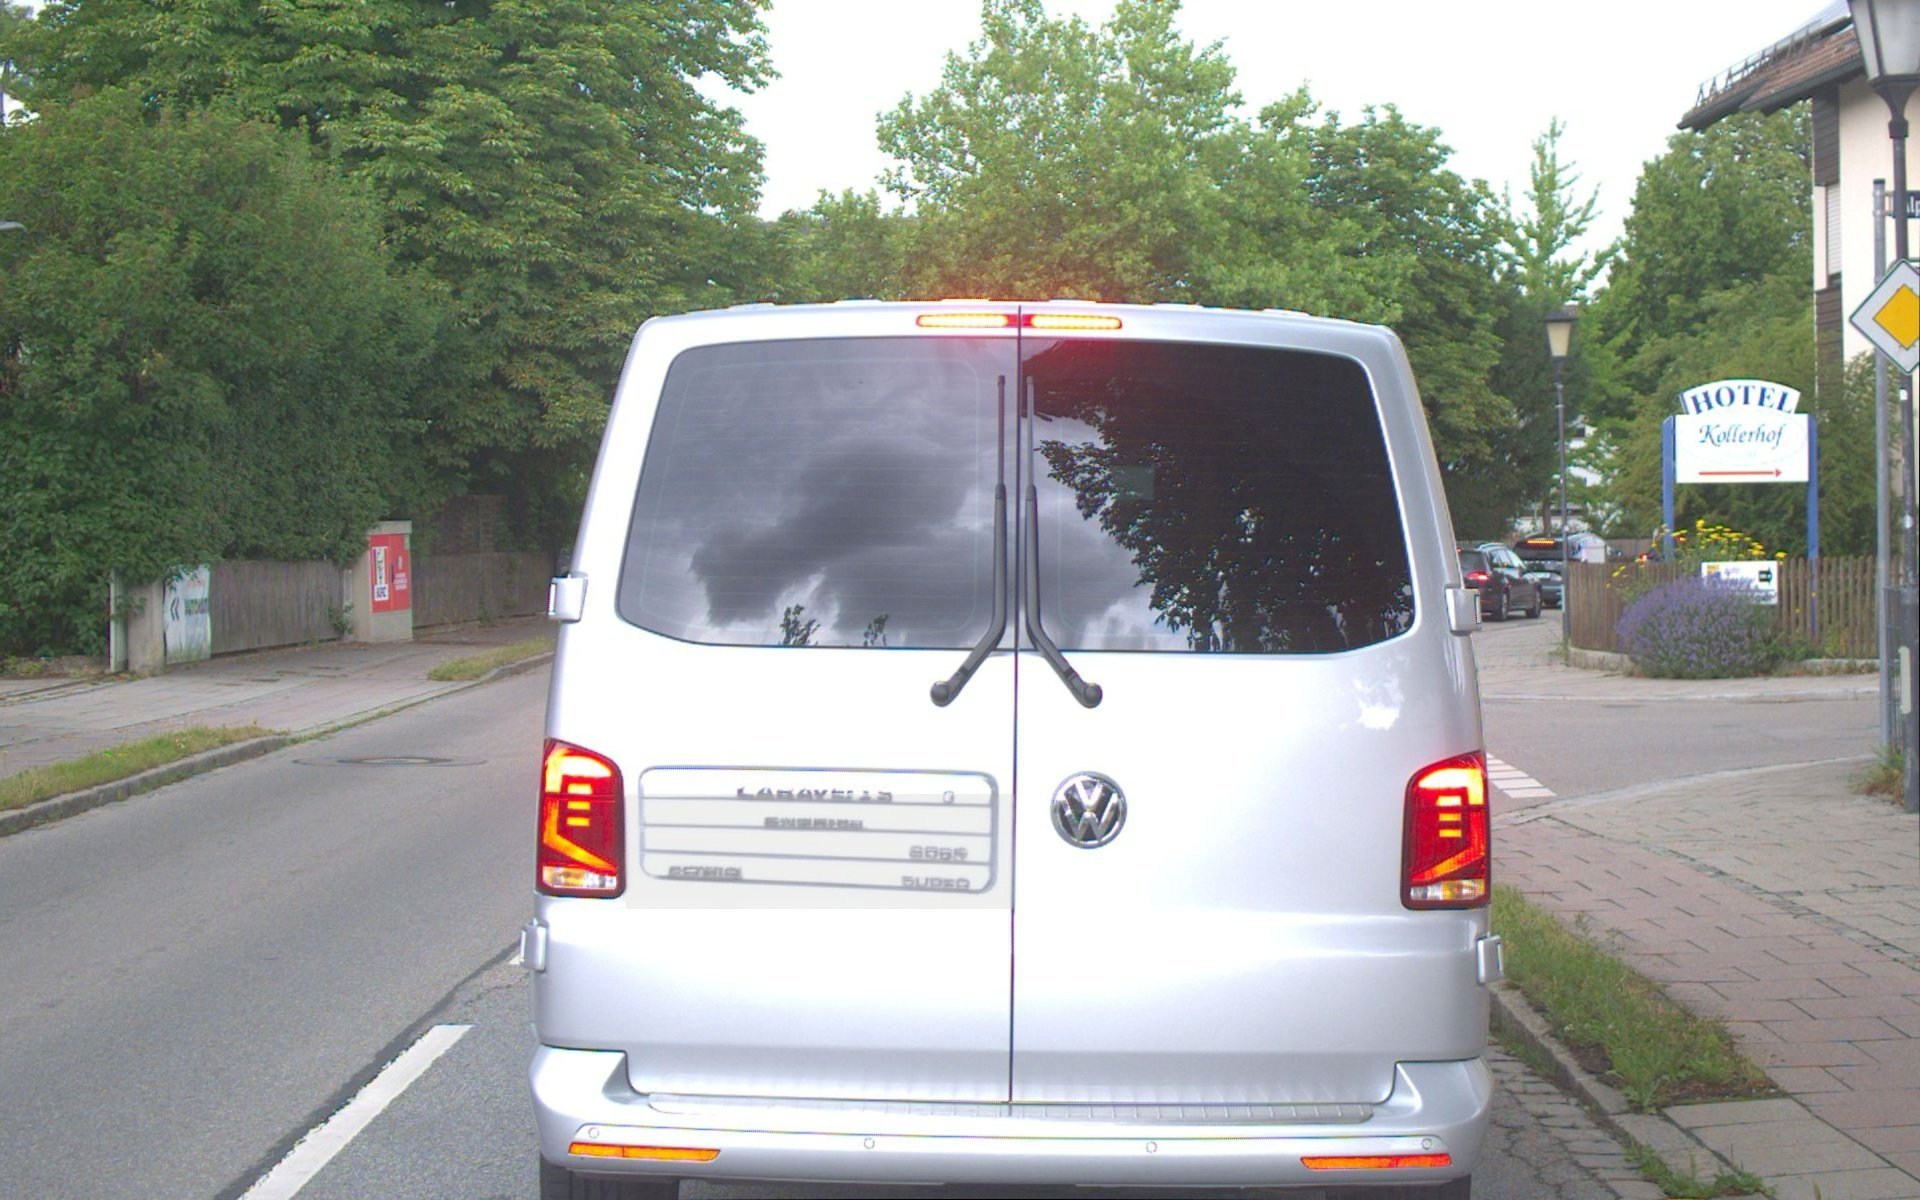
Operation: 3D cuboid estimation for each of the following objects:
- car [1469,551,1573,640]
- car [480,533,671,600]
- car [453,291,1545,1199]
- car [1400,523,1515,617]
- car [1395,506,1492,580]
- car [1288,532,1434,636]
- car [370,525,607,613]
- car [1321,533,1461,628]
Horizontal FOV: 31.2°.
[{"bbox_3d":[11.949,-0.121,73.072,1.882,1.819,3.918,0,1,13],"label":"car"},{"bbox_3d":[-7.801,-0.694,69.667,3.749,1.341,1.584,0,1,-10],"label":"car"},{"bbox_3d":[0.081,0.403,7.923,1.881,1.934,3.921,0,1,0],"label":"car"},{"bbox_3d":[9.519,-0.596,65.594,1.882,1.742,4.078,0,1,12],"label":"car"},{"bbox_3d":[12.226,-1.447,86.732,1.882,1.819,3.918,0,1,16],"label":"car"},{"bbox_3d":[6.171,-0.273,52.575,1.882,1.530,3.919,0,1,12],"label":"car"},{"bbox_3d":[-8.135,-0.548,59.322,3.986,1.481,2.001,0,1,-8],"label":"car"},{"bbox_3d":[7.240,-0.345,57.484,1.882,1.530,3.918,0,1,14],"label":"car"}]
